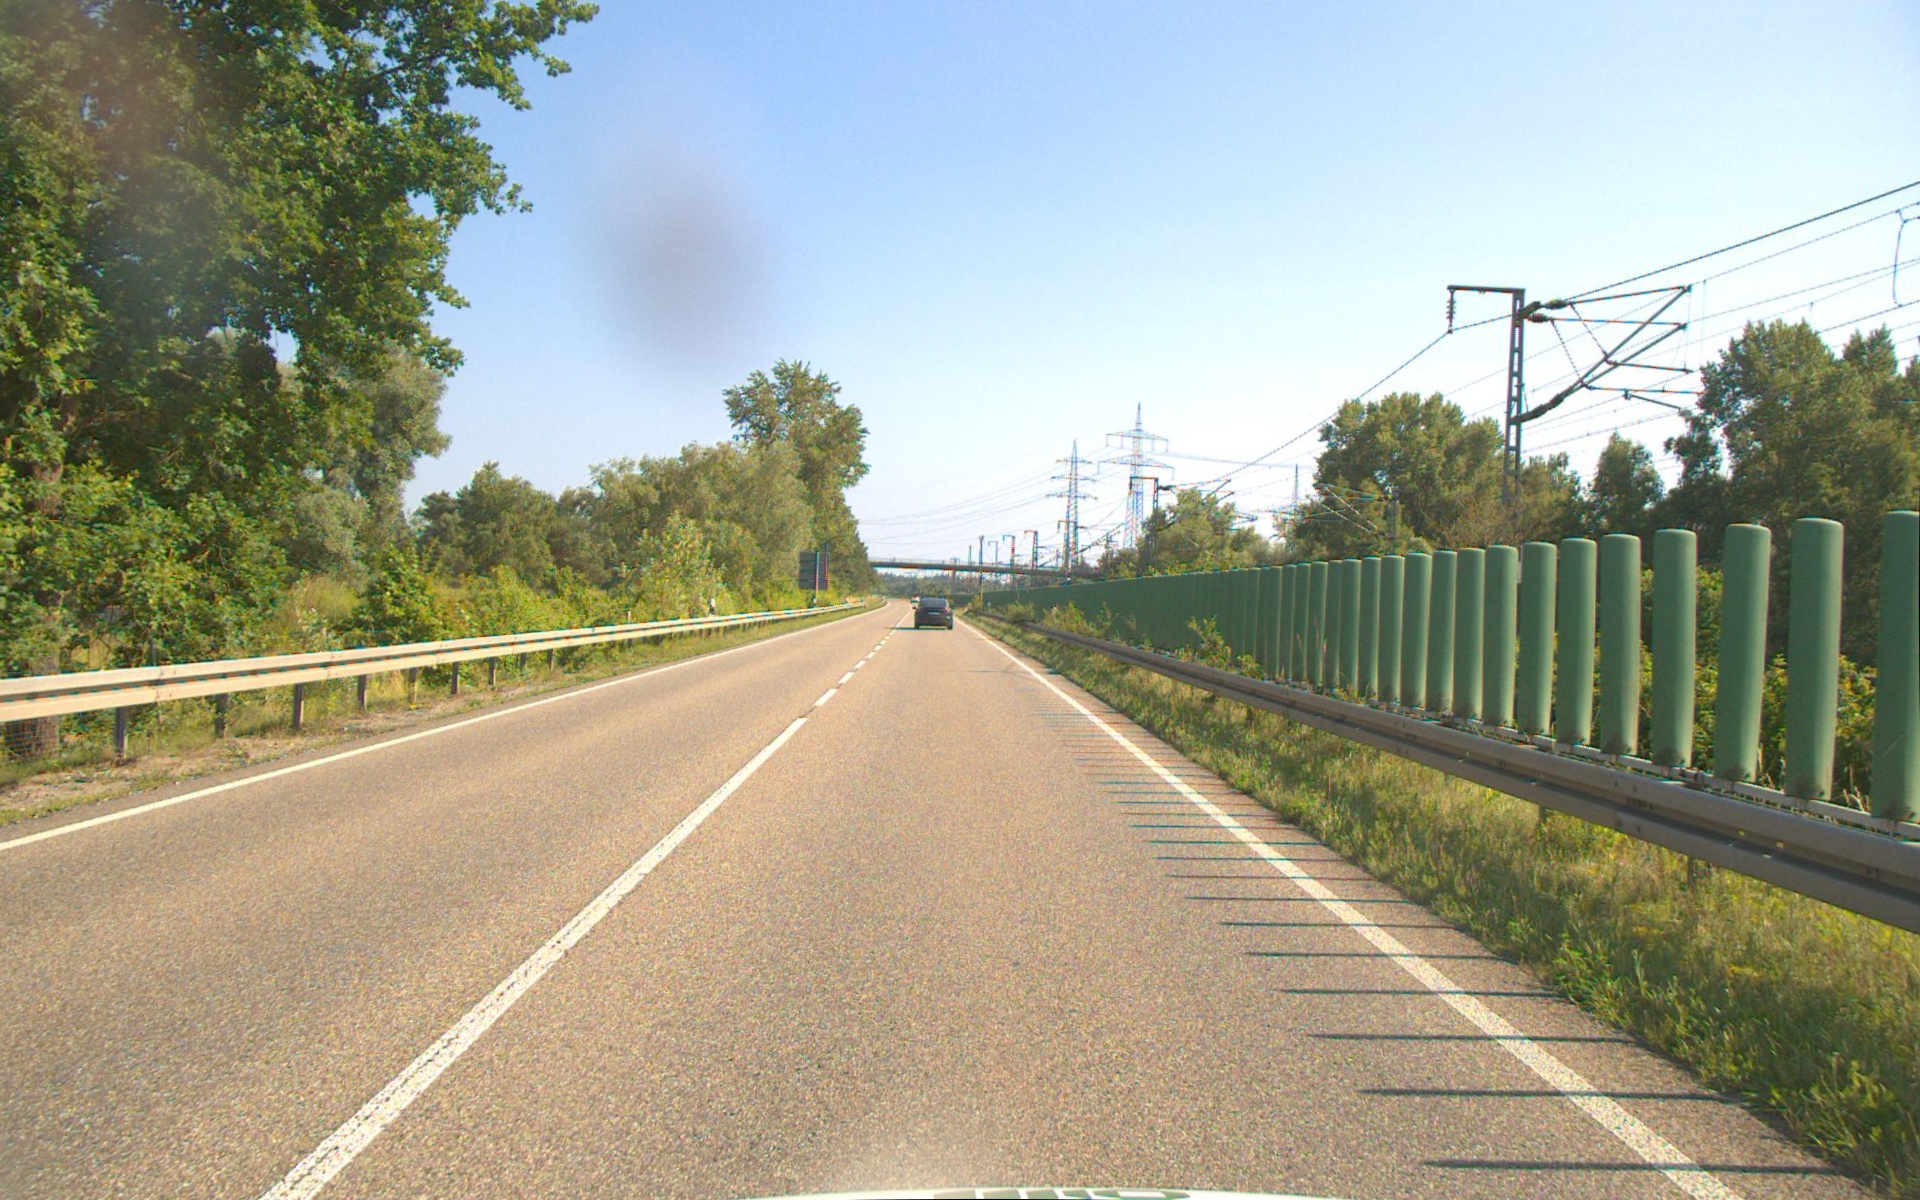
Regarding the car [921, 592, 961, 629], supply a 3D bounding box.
[{"bbox_3d":[-0.913,0.485,78.414,1.821,1.670,3.998,0,0,-2],"label":"car"}]
